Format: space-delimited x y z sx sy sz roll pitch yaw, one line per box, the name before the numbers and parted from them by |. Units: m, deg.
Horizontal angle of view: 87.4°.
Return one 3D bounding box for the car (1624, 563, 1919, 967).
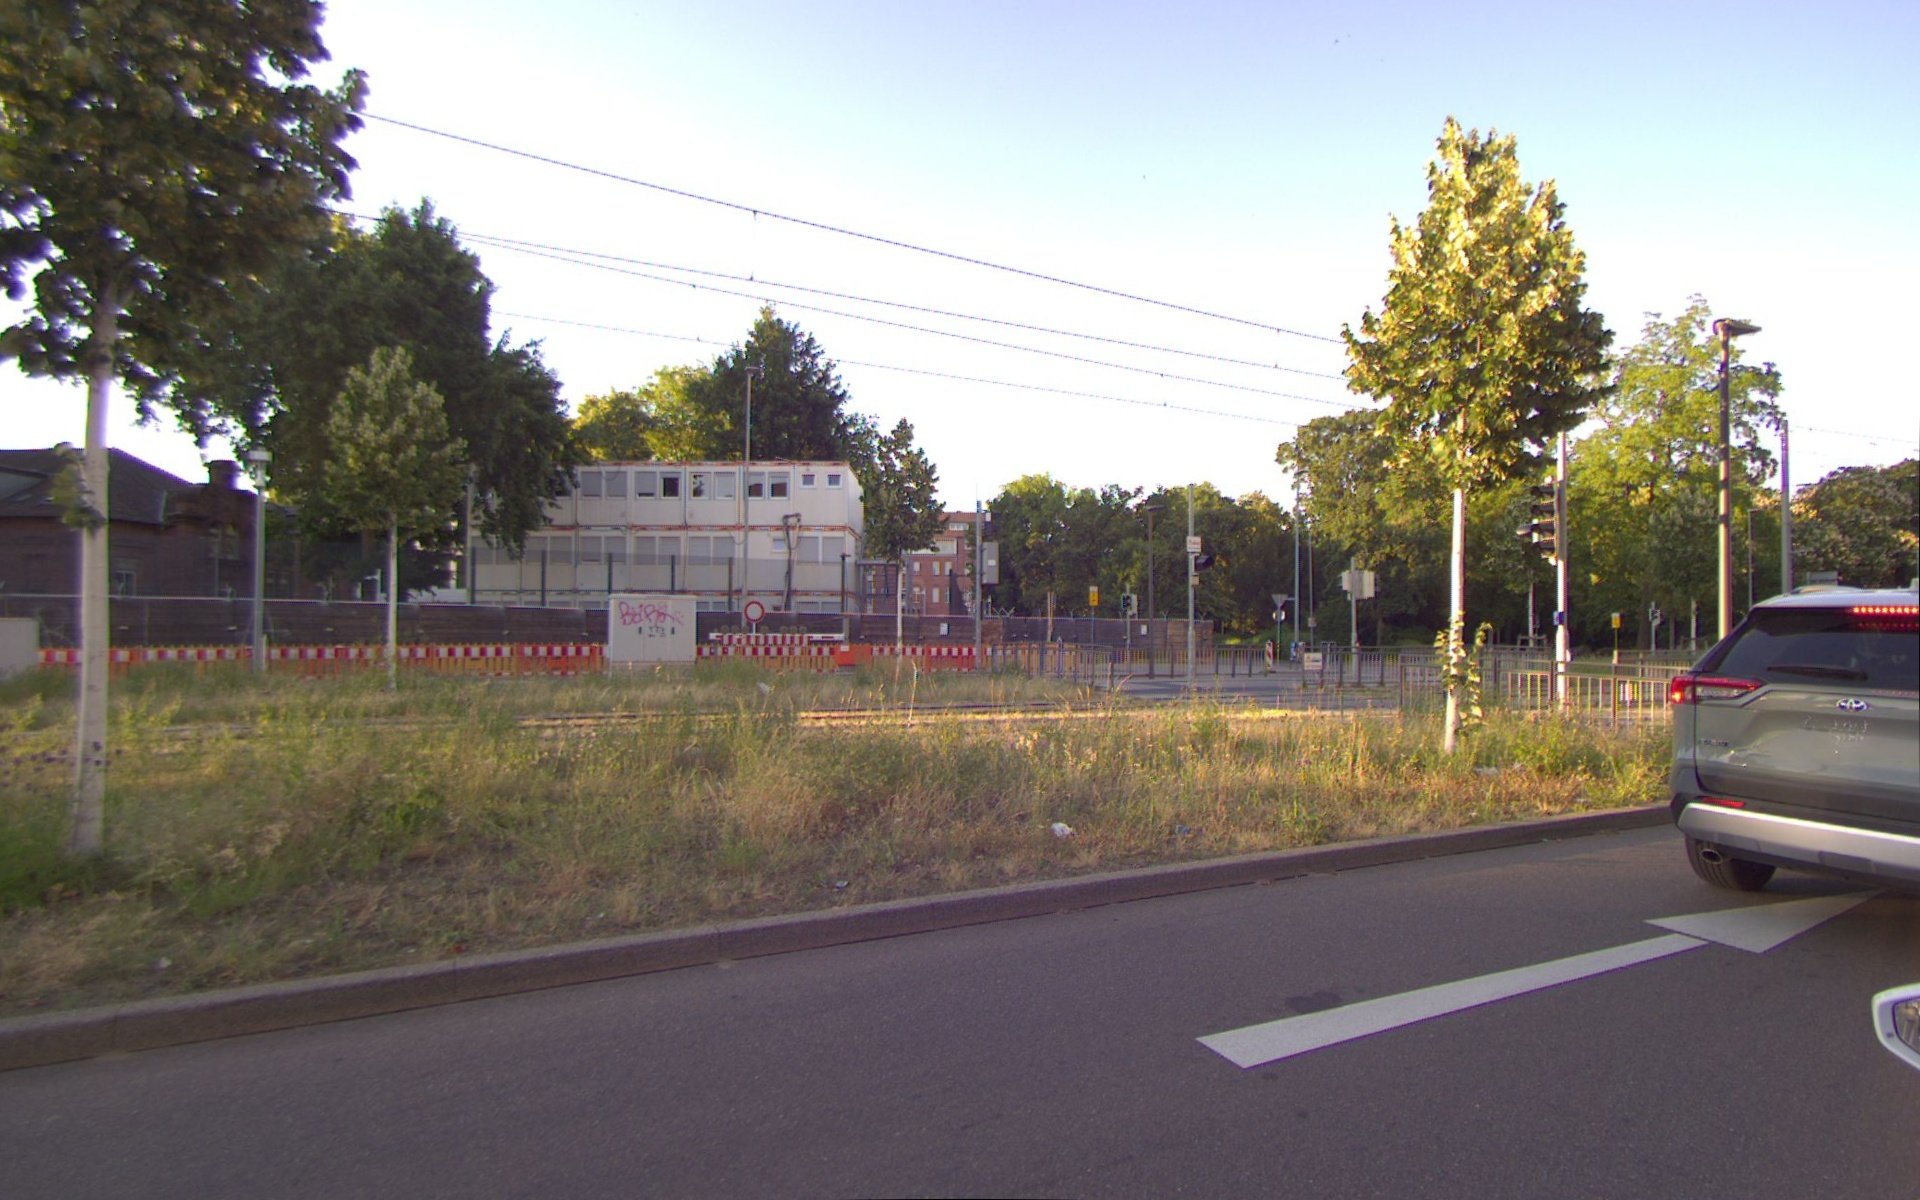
car | 5.670 0.687 5.478 4.220 1.681 1.845 0 0 -32
